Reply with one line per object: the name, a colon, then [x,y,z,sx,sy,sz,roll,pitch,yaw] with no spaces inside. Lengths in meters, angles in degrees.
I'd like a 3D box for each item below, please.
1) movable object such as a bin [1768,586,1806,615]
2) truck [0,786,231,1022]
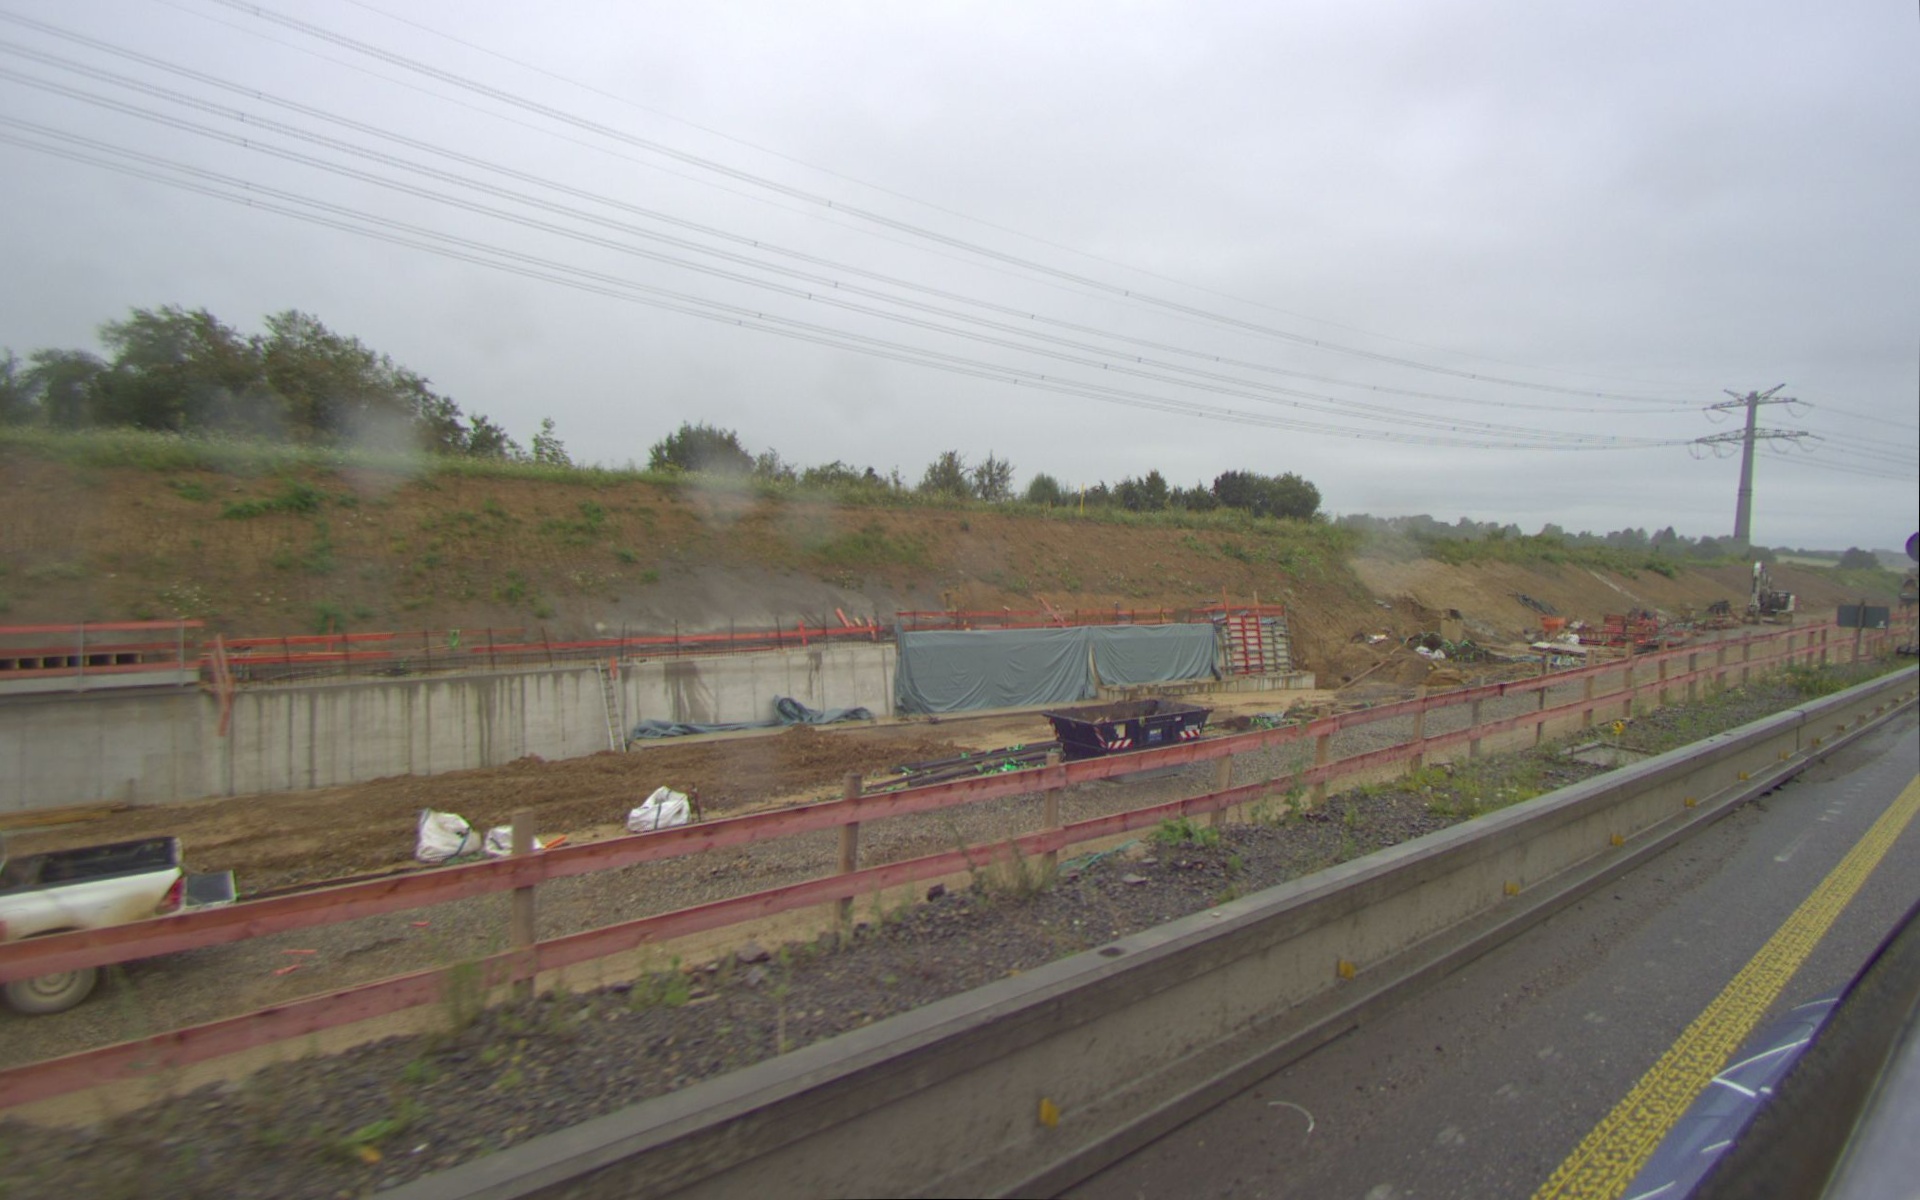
movable object such as a bin: [78.310,0.030,95.826,3.931,2.753,2.249,-1,0,-42]
truck: [-11.258,3.440,10.721,5.682,1.894,1.767,-1,3,-39]
